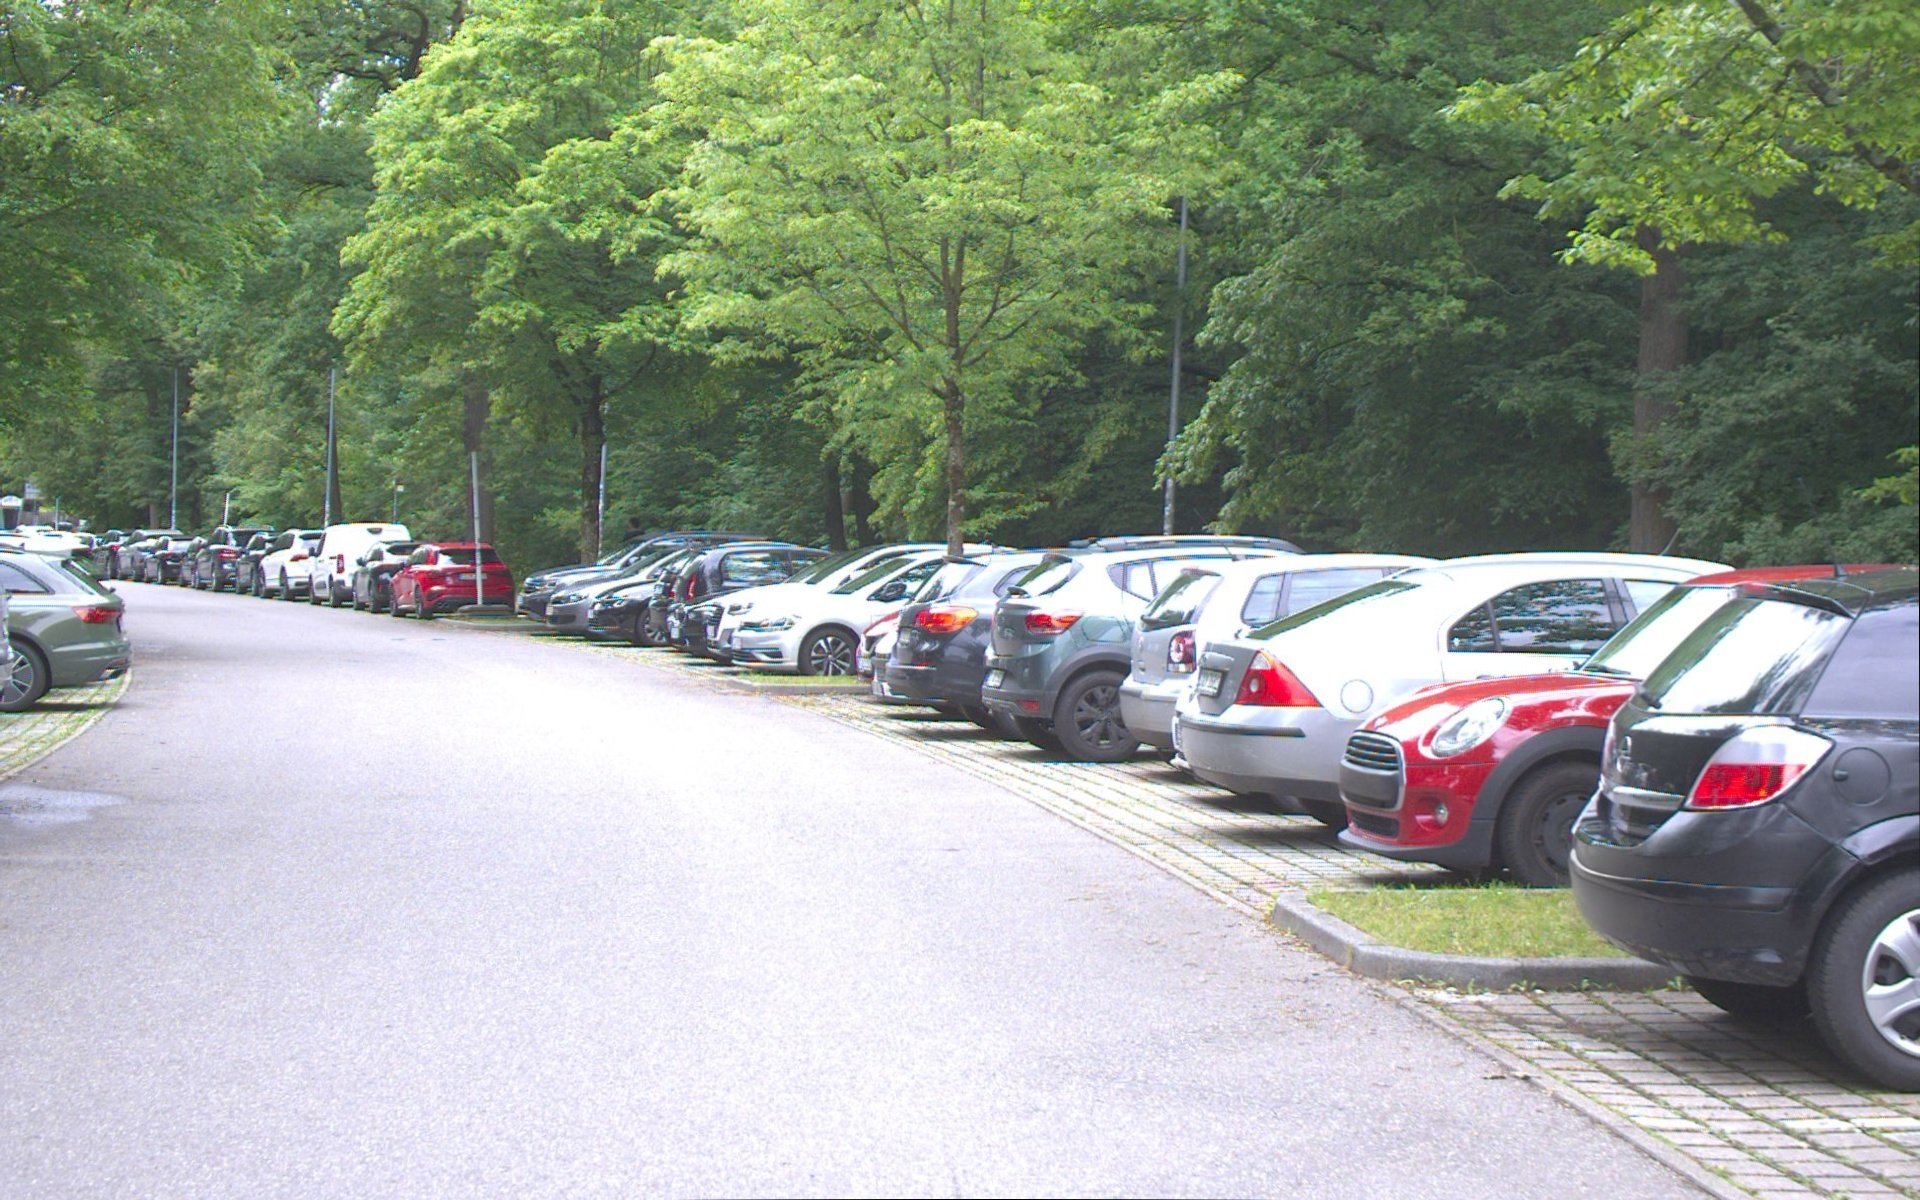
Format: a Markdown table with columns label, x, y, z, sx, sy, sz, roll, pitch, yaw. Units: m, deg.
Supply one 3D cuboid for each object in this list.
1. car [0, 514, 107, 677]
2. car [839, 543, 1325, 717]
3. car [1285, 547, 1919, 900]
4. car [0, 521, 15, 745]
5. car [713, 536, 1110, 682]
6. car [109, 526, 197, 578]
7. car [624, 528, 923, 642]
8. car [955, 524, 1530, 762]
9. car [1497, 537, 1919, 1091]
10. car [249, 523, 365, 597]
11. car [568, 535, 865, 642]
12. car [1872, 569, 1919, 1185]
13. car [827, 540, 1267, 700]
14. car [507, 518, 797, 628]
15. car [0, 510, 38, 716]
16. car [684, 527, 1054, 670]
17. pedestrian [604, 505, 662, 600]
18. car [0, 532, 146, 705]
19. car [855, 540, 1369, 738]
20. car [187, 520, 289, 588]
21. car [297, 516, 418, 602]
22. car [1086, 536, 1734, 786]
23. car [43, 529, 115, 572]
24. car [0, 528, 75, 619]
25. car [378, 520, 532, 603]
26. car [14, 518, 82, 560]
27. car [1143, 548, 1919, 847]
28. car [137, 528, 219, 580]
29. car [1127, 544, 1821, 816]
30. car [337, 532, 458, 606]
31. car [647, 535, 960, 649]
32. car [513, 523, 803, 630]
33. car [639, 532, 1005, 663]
| label | x | y | z | sx | sy | sz | roll | pitch | yaw |
| --- | --- | --- | --- | --- | --- | --- | --- | --- | --- |
| car | -10.928 | -0.069 | 35.269 | 3.959 | 1.622 | 1.999 | 0 | 1 | -5 |
| car | 1.037 | 0.250 | 30.318 | 3.931 | 1.406 | 1.879 | 1 | 2 | -11 |
| car | 3.635 | 0.512 | 15.357 | 3.986 | 1.445 | 1.941 | 1 | 1 | -8 |
| car | -8.575 | 0.214 | 22.748 | 4.232 | 1.525 | 2.007 | 1 | 1 | -8 |
| car | -0.556 | 0.092 | 37.702 | 3.975 | 1.478 | 1.885 | 1 | 2 | -16 |
| car | -25.097 | -1.503 | 106.857 | 1.977 | 1.532 | 4.623 | 1 | 1 | -22 |
| car | -2.591 | -0.227 | 47.463 | 3.826 | 1.526 | 1.851 | 0 | 1 | -15 |
| car | 1.987 | 0.291 | 24.892 | 3.767 | 1.584 | 1.950 | 1 | 2 | -9 |
| car | 3.801 | 0.577 | 10.293 | 3.986 | 1.478 | 1.922 | 1 | 1 | -4 |
| car | -15.331 | -0.962 | 80.548 | 1.785 | 1.657 | 4.719 | 1 | 1 | -22 |
| car | -3.564 | -0.172 | 50.025 | 3.986 | 1.470 | 1.953 | 1 | 1 | -15 |
| car | 4.467 | 0.711 | 7.766 | 4.228 | 1.475 | 1.919 | 1 | 1 | -4 |
| car | 0.823 | 0.188 | 33.130 | 3.793 | 1.436 | 1.871 | 1 | 2 | -20 |
| car | -4.919 | -0.431 | 54.731 | 4.264 | 1.660 | 1.959 | 1 | 1 | -16 |
| car | -9.688 | 0.084 | 27.825 | 4.232 | 1.641 | 1.971 | 0 | 1 | -13 |
| car | -1.096 | -0.028 | 40.182 | 4.007 | 1.553 | 1.978 | 1 | 2 | -11 |
| pedestrian | -6.037 | -0.869 | 63.364 | 0.817 | 1.720 | 1.004 | 1 | 1 | -19 |
| car | -9.565 | 0.136 | 30.191 | 4.638 | 1.473 | 2.095 | 0 | 1 | -11 |
| car | 1.189 | 0.300 | 27.673 | 3.767 | 1.476 | 1.774 | 1 | 2 | -13 |
| car | -19.241 | -1.240 | 91.455 | 1.889 | 1.741 | 4.950 | 1 | 1 | -21 |
| car | -13.131 | -0.911 | 74.737 | 1.744 | 1.774 | 4.553 | 1 | 1 | -21 |
| car | 2.897 | 0.384 | 22.519 | 3.841 | 1.540 | 1.731 | 1 | 1 | -10 |
| car | -31.617 | -1.779 | 123.375 | 1.936 | 1.470 | 3.993 | 1 | 1 | -23 |
| car | -16.885 | -0.437 | 56.461 | 4.364 | 1.481 | 1.892 | 0 | 1 | -21 |
| car | -9.506 | -0.746 | 64.388 | 1.993 | 1.474 | 4.973 | 1 | 1 | -19 |
| car | -34.130 | -2.296 | 128.594 | 1.721 | 1.489 | 3.775 | 1 | 1 | -26 |
| car | 3.152 | 0.483 | 17.991 | 4.125 | 1.456 | 1.865 | 1 | 1 | -6 |
| car | -23.076 | -1.365 | 101.365 | 1.636 | 1.472 | 4.152 | 1 | 1 | -23 |
| car | 2.981 | 0.453 | 20.370 | 3.701 | 1.505 | 1.752 | 1 | 0 | -8 |
| car | -11.437 | -0.655 | 69.691 | 1.725 | 1.418 | 4.285 | 1 | 1 | -19 |
| car | -2.084 | -0.113 | 45.282 | 3.826 | 1.452 | 1.809 | 0 | 1 | -14 |
| car | -4.622 | -0.365 | 52.456 | 3.986 | 1.546 | 1.976 | 1 | 1 | -22 |
| car | -1.729 | -0.037 | 42.636 | 4.186 | 1.506 | 1.894 | 1 | 2 | -16 |
